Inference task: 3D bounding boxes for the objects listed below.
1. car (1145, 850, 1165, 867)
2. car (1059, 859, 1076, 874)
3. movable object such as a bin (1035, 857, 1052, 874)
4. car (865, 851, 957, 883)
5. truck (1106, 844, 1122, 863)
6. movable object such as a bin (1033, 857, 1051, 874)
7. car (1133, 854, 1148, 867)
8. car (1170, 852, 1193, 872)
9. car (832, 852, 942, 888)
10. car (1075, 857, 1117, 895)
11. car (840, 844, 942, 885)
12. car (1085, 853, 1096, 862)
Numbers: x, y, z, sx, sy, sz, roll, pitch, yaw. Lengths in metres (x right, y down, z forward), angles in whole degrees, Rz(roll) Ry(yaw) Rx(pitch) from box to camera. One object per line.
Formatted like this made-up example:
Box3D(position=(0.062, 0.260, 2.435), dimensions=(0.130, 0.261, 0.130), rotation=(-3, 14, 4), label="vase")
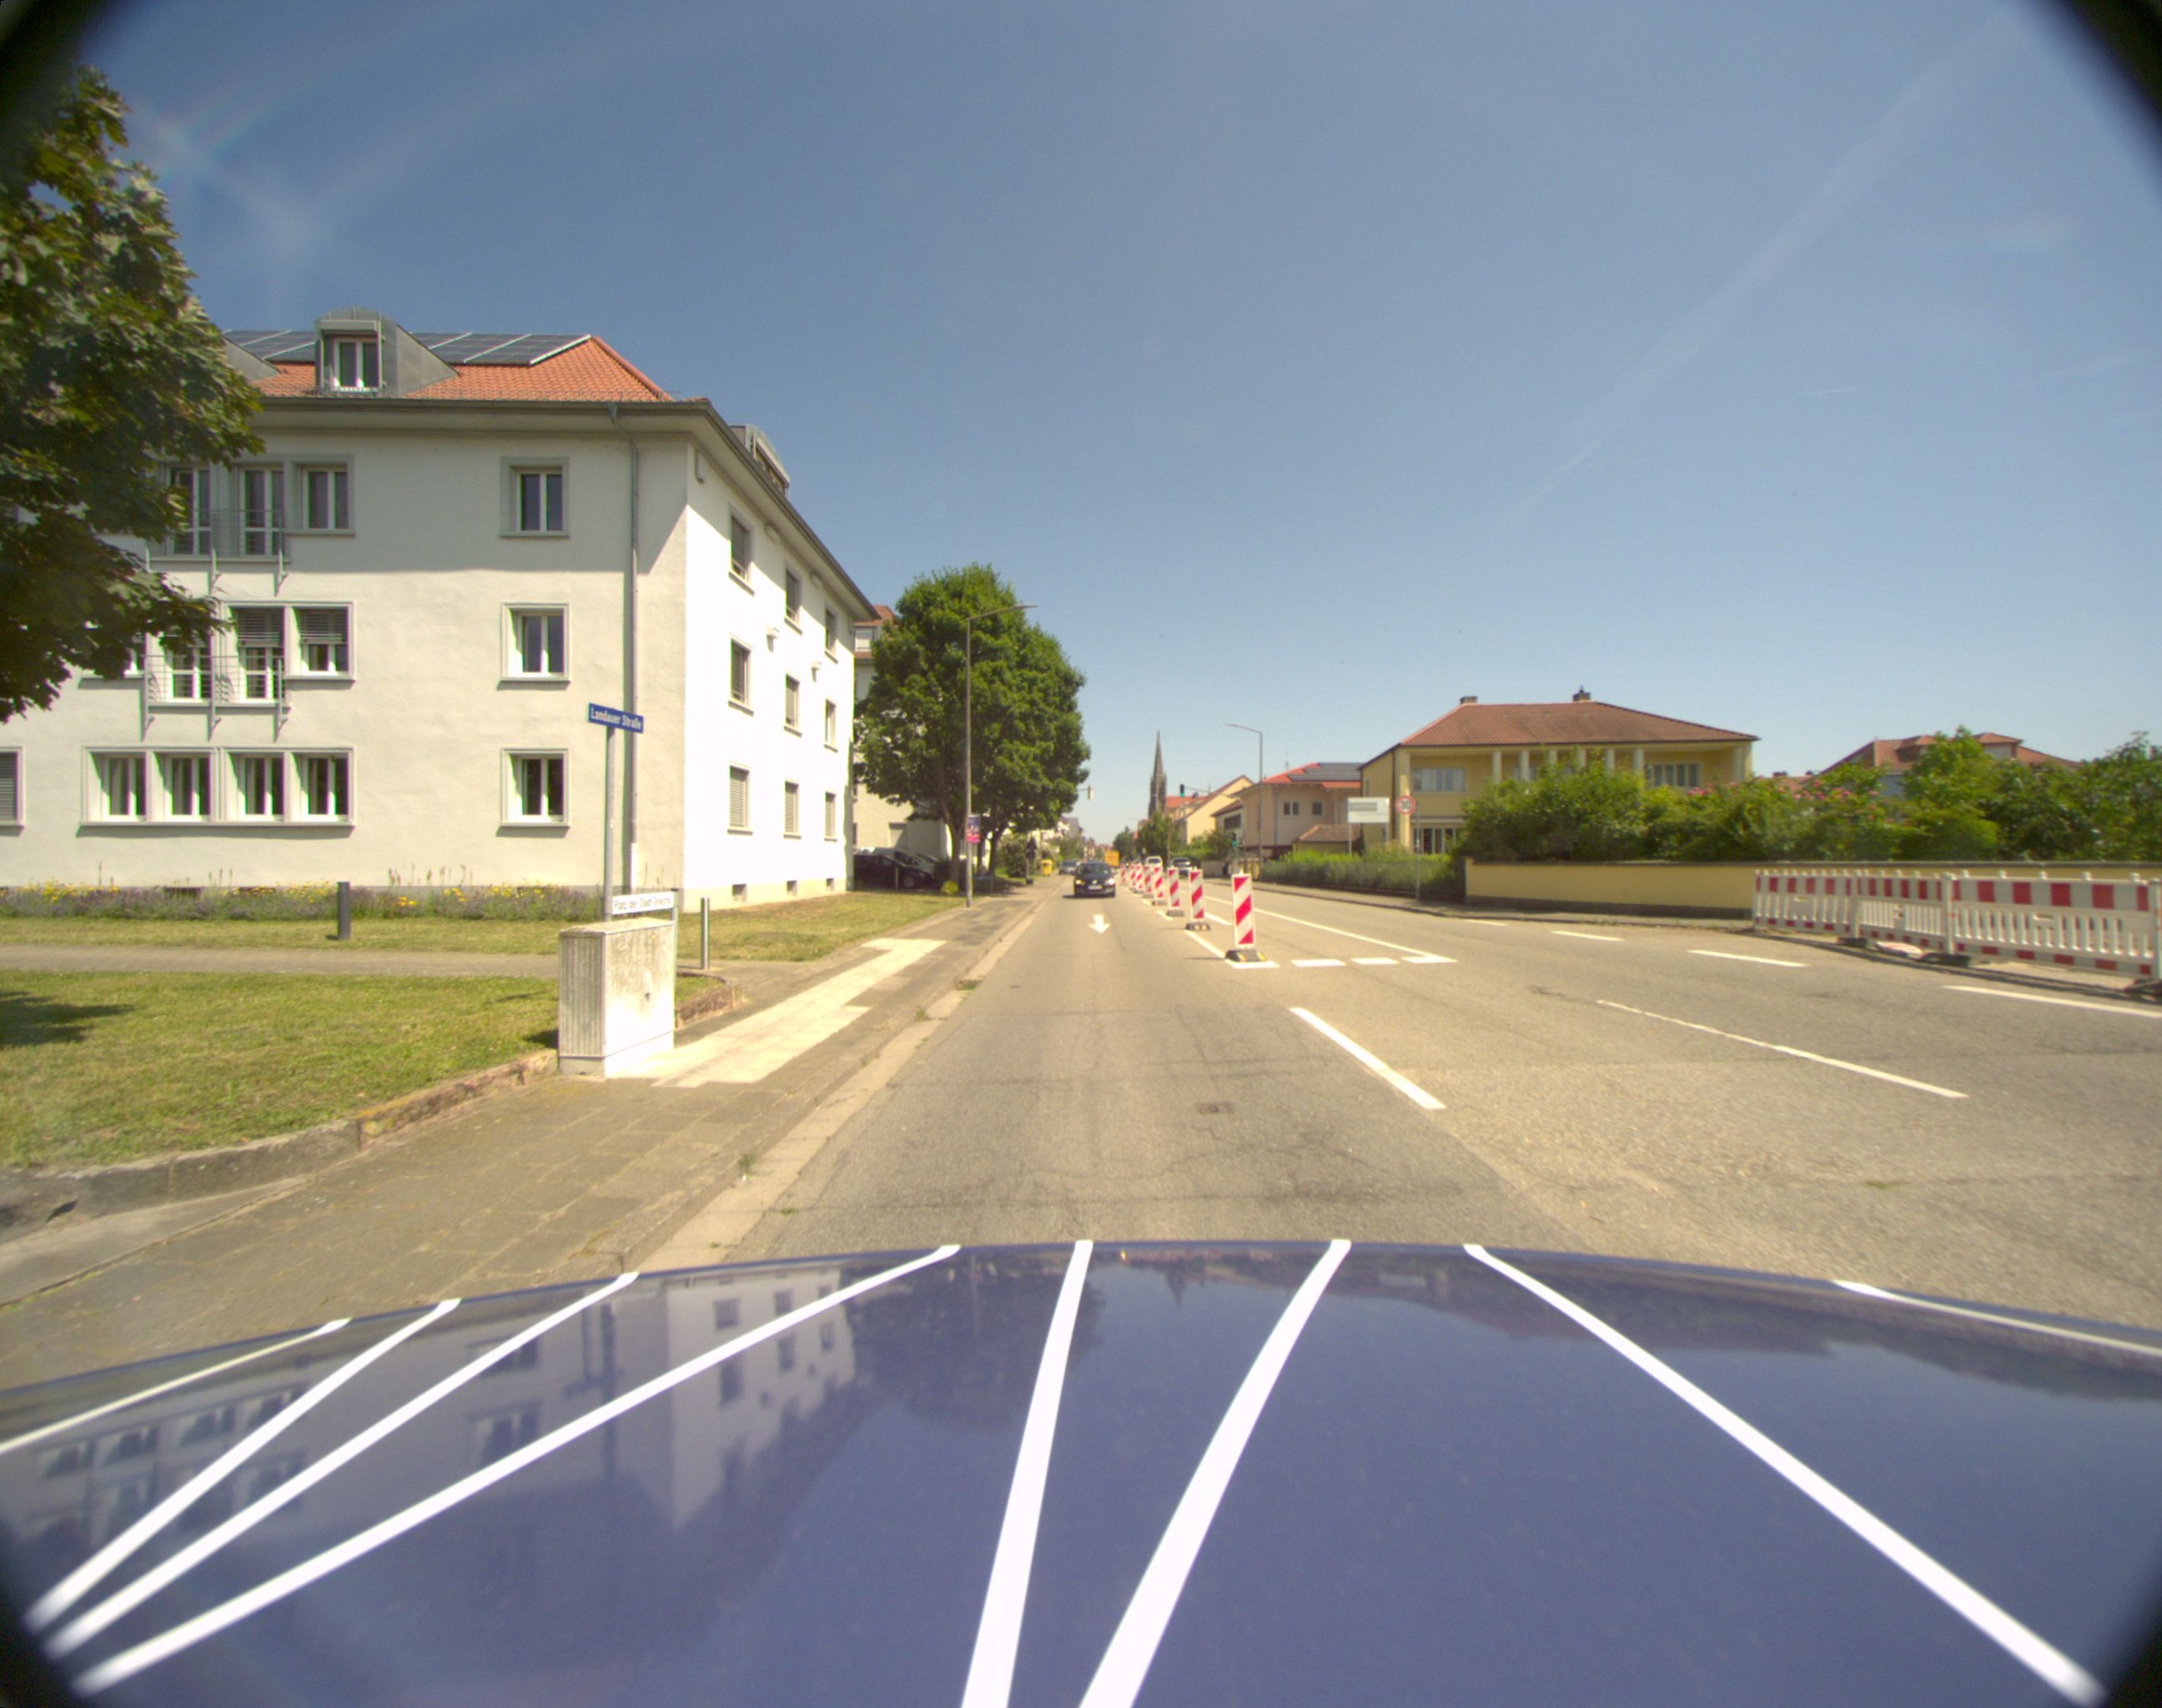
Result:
Box3D(position=(7.826, 0.485, 80.767), dimensions=(1.718, 1.776, 3.889), rotation=(0, 0, -1), label="car")
Box3D(position=(-1.320, 1.280, 76.516), dimensions=(1.607, 1.403, 3.909), rotation=(-1, 0, 1), label="car")
Box3D(position=(-3.399, 1.043, 68.702), dimensions=(1.499, 1.472, 1.423), rotation=(0, 0, -1), label="movable object such as a bin")
Box3D(position=(-8.823, 0.658, 39.822), dimensions=(4.367, 1.517, 2.000), rotation=(2, 0, -2), label="car")
Box3D(position=(5.220, -0.109, 122.012), dimensions=(2.222, 2.920, 5.350), rotation=(0, 0, -1), label="truck")
Box3D(position=(-3.467, 1.046, 67.100), dimensions=(1.499, 1.472, 1.423), rotation=(0, 0, -1), label="movable object such as a bin")
Box3D(position=(7.704, 0.810, 98.653), dimensions=(1.624, 1.595, 3.513), rotation=(0, 0, -1), label="car")
Box3D(position=(8.028, 0.614, 60.972), dimensions=(1.390, 1.568, 3.321), rotation=(0, 0, -1), label="car")
Box3D(position=(-8.530, 0.698, 33.692), dimensions=(4.367, 1.427, 2.000), rotation=(2, 0, -2), label="car")
Box3D(position=(0.661, 0.853, 31.276), dimensions=(1.607, 1.436, 3.910), rotation=(-1, 0, 3), label="car")
Box3D(position=(-9.029, 0.492, 36.385), dimensions=(4.367, 1.776, 2.000), rotation=(2, 0, -2), label="car")
Box3D(position=(1.555, 0.581, 126.899), dimensions=(1.711, 1.449, 3.563), rotation=(0, 0, -3), label="car")
